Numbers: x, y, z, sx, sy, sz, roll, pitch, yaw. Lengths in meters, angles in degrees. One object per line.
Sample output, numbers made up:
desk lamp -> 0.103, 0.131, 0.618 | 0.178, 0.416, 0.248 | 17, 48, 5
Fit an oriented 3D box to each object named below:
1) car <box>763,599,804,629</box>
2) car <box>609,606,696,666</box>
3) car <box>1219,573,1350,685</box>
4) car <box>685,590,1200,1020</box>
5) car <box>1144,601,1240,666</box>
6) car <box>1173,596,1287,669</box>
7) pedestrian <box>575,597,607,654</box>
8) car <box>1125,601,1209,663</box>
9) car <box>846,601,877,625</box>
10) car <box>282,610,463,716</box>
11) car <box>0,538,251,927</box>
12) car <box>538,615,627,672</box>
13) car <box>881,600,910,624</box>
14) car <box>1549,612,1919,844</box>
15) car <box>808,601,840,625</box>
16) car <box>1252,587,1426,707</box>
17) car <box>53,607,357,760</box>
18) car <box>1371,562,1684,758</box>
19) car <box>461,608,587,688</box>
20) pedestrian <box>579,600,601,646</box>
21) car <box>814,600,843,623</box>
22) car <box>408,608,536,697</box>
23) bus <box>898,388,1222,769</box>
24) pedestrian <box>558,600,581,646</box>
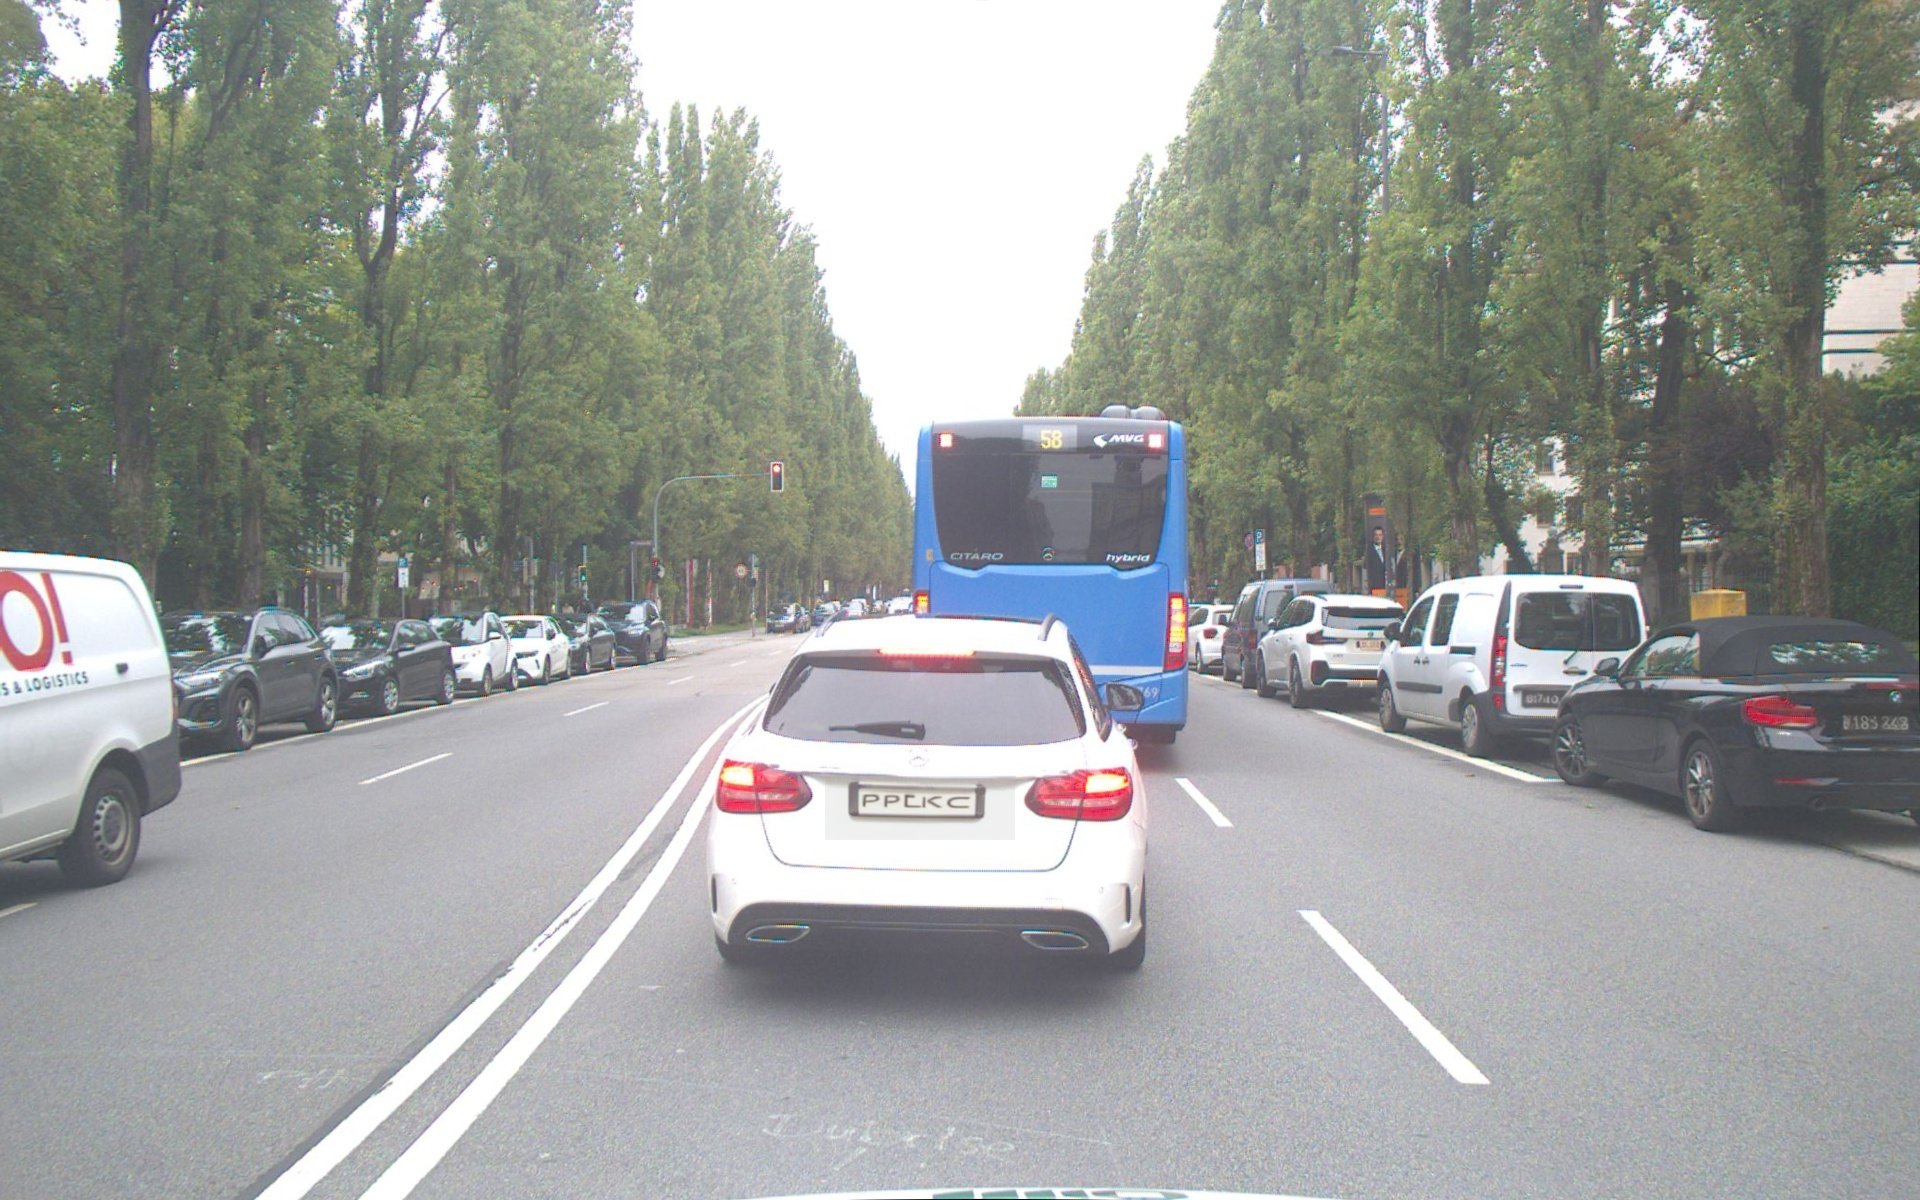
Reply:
car -> -9.357, 0.739, 87.777 | 1.784, 1.512, 3.999 | -1, 0, -1
car -> -8.611, 0.975, 46.621 | 1.672, 1.579, 4.000 | -1, 0, 0
car -> 5.821, 0.483, 30.083 | 1.668, 1.868, 4.001 | 1, 0, 1
car -> 0.017, 0.717, 8.064 | 1.788, 1.480, 4.584 | 0, 0, 2
car -> 5.775, 0.794, 41.584 | 1.749, 1.518, 3.999 | -1, 0, -1
car -> 5.886, 0.678, 36.442 | 1.762, 1.501, 3.999 | -1, 0, -1
pedestrian -> -11.901, 0.816, 53.357 | 0.805, 1.795, 1.080 | -1, 0, -3
car -> 5.800, 0.858, 46.746 | 1.772, 1.646, 3.999 | -1, 0, -1
car -> -6.276, 0.813, 105.339 | 1.784, 1.512, 3.999 | -1, 0, -1
car -> -9.341, 0.949, 26.604 | 1.508, 1.458, 3.868 | -4, 0, -1
car -> -5.841, 0.697, 8.149 | 2.138, 1.924, 5.696 | -2, 0, 0
car -> -9.317, 1.050, 41.041 | 1.262, 1.296, 3.849 | -1, 0, 0
car -> -4.583, 0.850, 117.941 | 1.953, 1.647, 3.999 | -1, 0, -1
car -> 5.850, 0.796, 12.107 | 1.710, 1.378, 4.000 | 0, 0, 1
car -> -8.764, 0.813, 107.104 | 1.784, 1.512, 3.999 | -1, 0, -1
car -> 5.591, 0.646, 24.857 | 1.643, 1.624, 4.087 | 1, 0, 0
car -> -9.138, 0.931, 20.453 | 1.755, 1.575, 4.337 | -3, 0, -1
car -> 5.890, 0.567, 17.728 | 1.796, 1.804, 4.229 | 1, 0, -1
car -> -9.259, 0.978, 35.416 | 1.673, 1.575, 3.999 | -1, 0, -1
pedestrian -> -16.648, 1.040, 74.383 | 0.813, 2.049, 0.777 | -1, 0, -2
car -> -9.223, 0.789, 116.458 | 1.784, 1.512, 3.999 | -1, 0, -1
car -> -9.241, 0.959, 31.551 | 1.381, 1.579, 3.444 | -1, 0, 0
bus -> 1.313, -0.196, 18.822 | 2.795, 3.270, 9.066 | 0, 0, 6
pedestrian -> -17.511, 1.041, 74.180 | 0.813, 2.049, 0.777 | -1, 0, -2
